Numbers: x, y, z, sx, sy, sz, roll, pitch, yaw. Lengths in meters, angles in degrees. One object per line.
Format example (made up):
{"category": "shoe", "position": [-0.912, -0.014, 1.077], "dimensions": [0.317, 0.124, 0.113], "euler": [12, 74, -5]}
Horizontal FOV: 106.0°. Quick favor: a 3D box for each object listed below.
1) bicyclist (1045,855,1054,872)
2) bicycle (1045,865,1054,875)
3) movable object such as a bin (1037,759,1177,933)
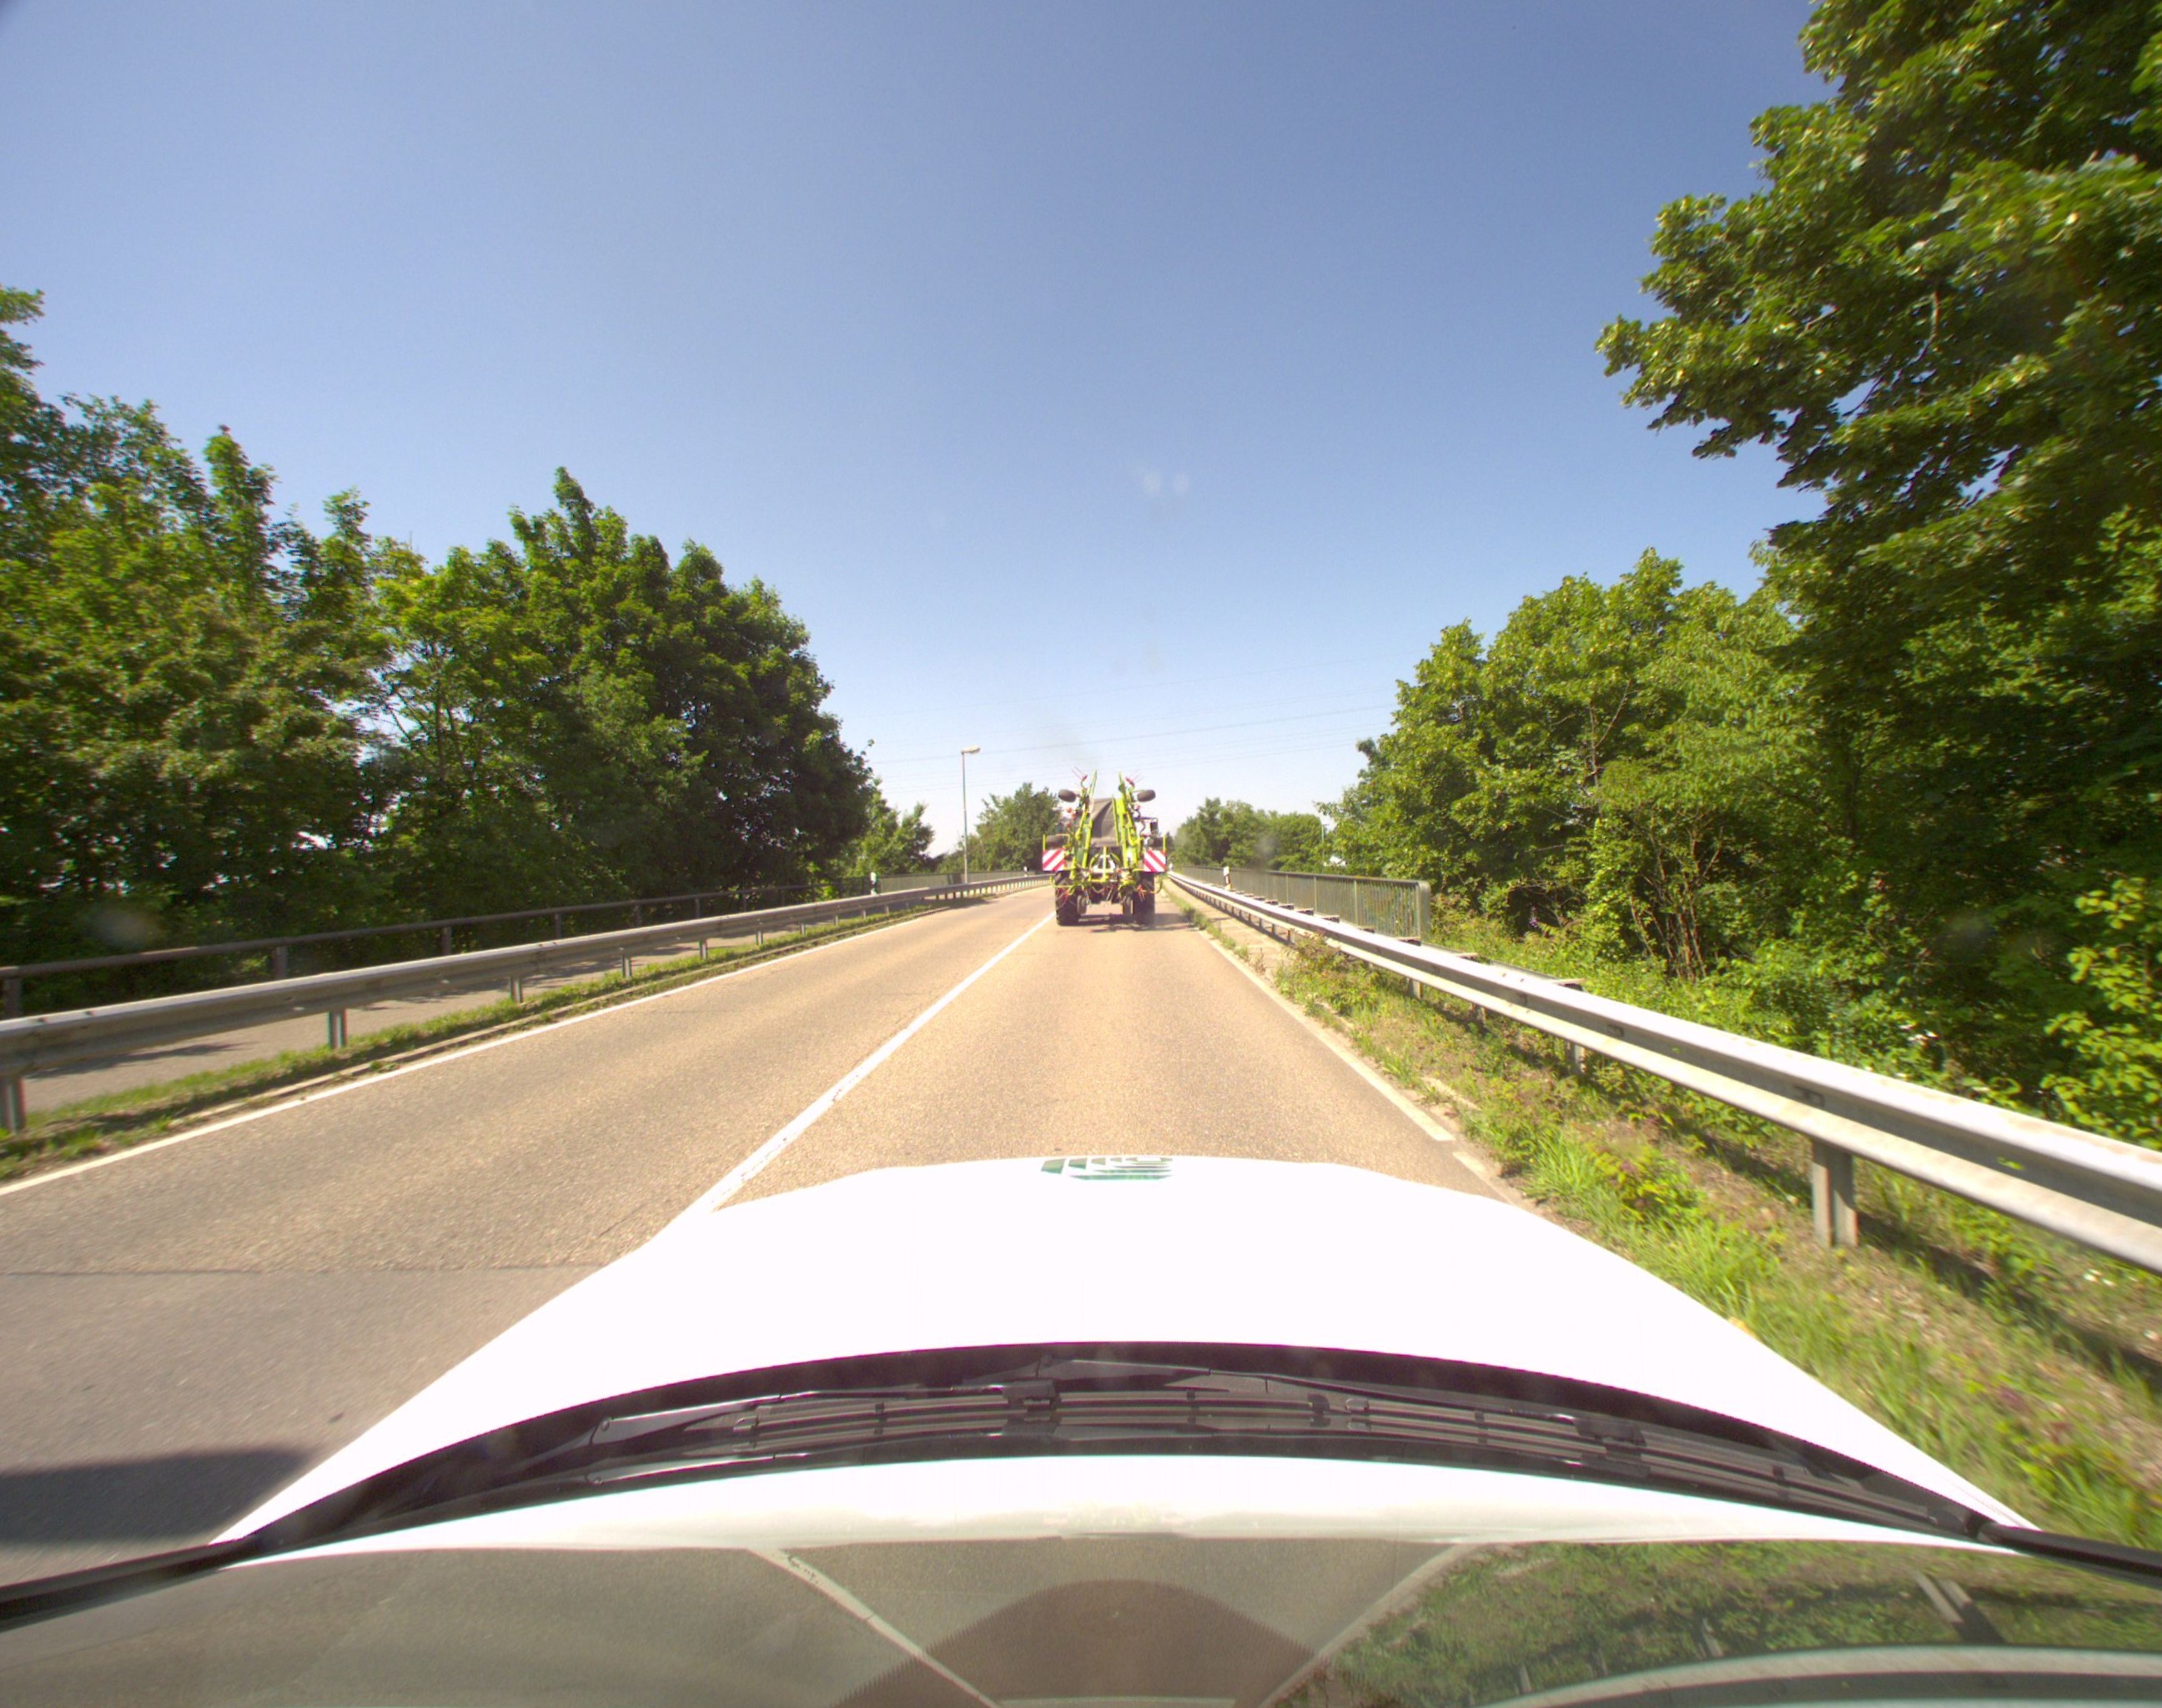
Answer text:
{"category": "bicyclist", "position": [-3.294, 0.985, 84.913], "dimensions": [0.762, 1.634, 0.896], "euler": [5, -1, 4]}
{"category": "bicycle", "position": [-3.284, 1.667, 84.847], "dimensions": [0.674, 1.001, 2.120], "euler": [5, 0, 3]}
{"category": "movable object such as a bin", "position": [0.587, -0.153, 19.202], "dimensions": [2.745, 3.444, 5.671], "euler": [-1, 0, 1]}
